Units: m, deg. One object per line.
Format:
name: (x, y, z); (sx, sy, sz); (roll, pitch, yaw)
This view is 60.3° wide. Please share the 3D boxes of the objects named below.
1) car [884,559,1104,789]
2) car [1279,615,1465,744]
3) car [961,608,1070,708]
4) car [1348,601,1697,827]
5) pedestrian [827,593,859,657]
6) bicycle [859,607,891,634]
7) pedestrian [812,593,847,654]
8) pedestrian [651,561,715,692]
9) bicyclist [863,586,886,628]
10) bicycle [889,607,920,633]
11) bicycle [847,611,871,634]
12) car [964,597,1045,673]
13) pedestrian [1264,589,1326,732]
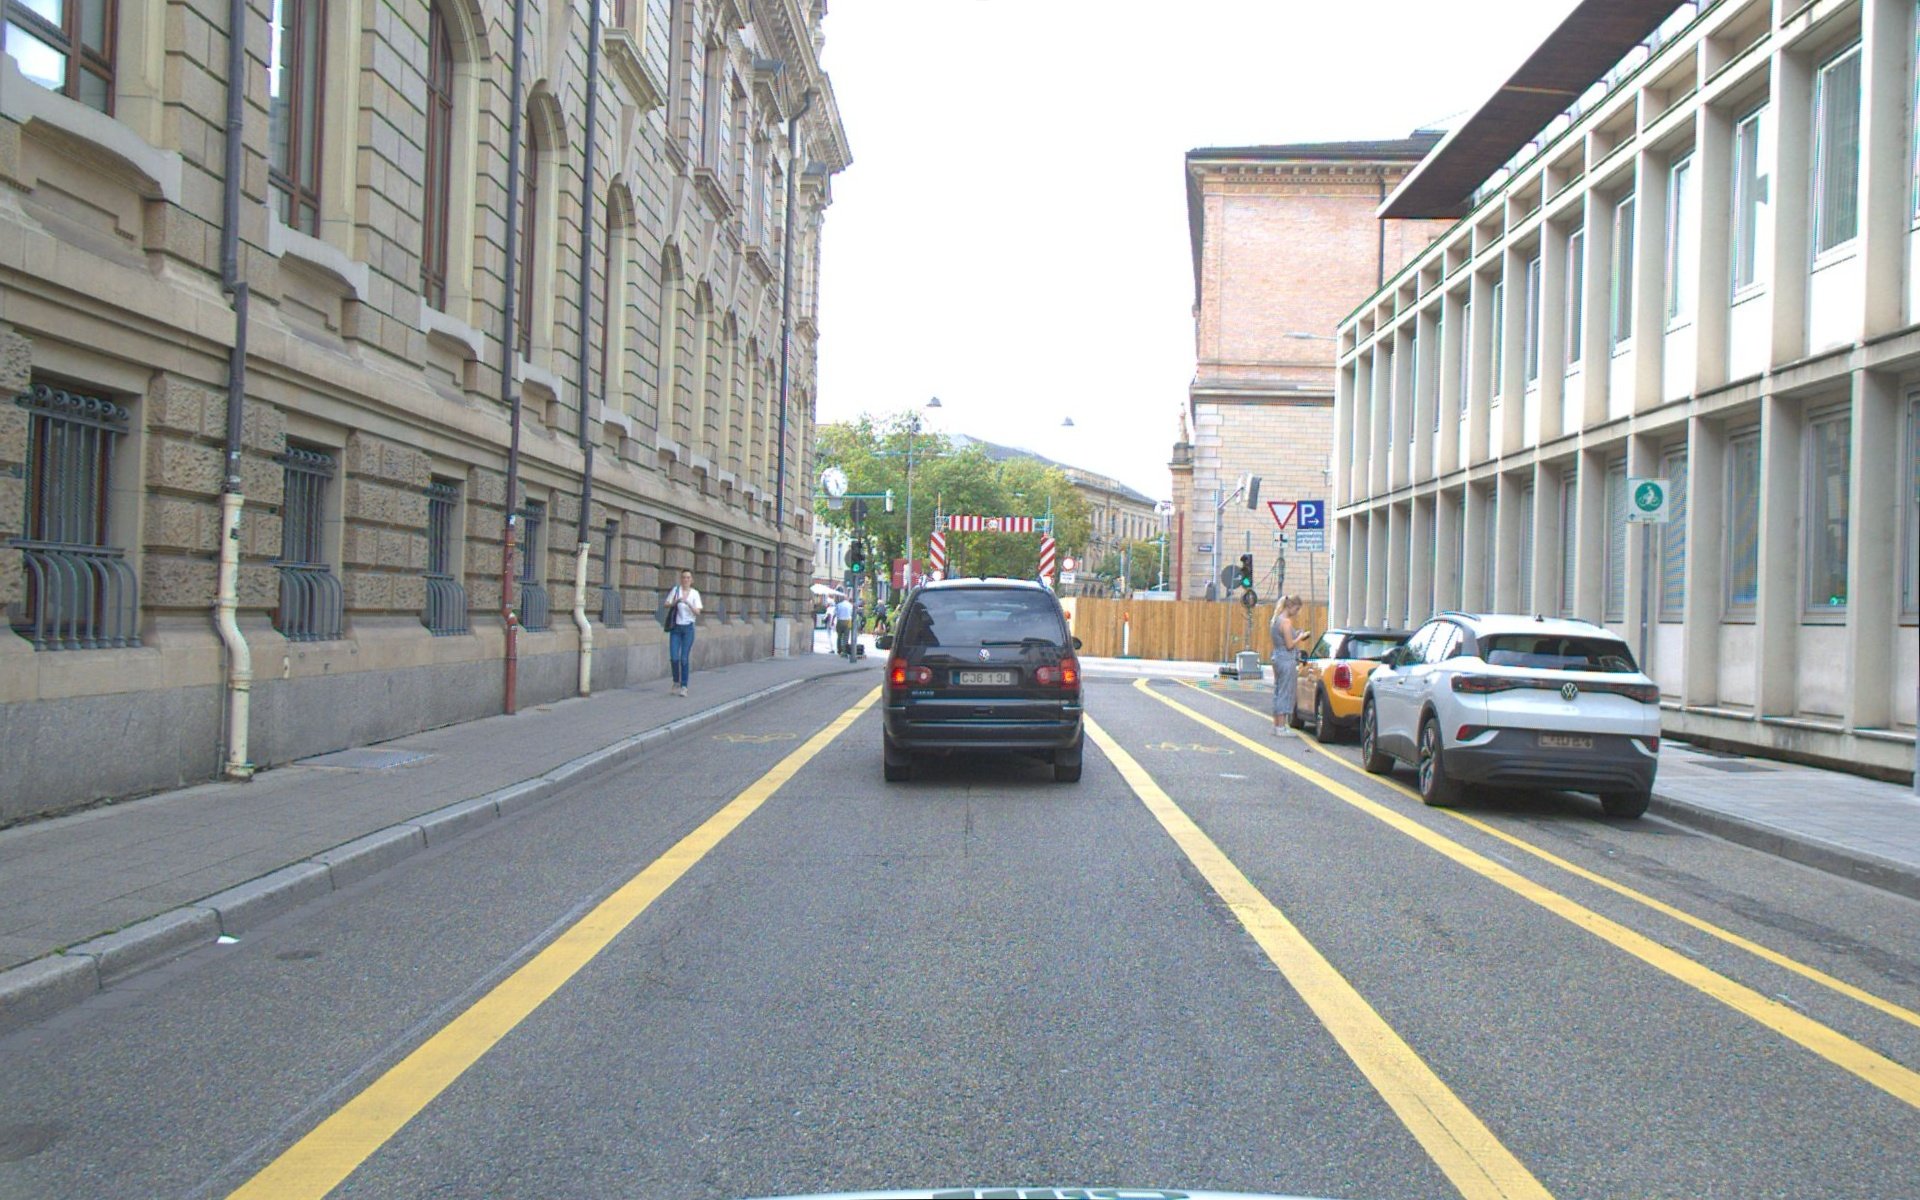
car: (0.383, 0.621, 15.398); (1.752, 1.821, 4.104); (1, -1, 3)
car: (5.330, 0.980, 21.834); (1.645, 1.460, 3.888); (3, -1, 3)
car: (0.947, 0.925, 27.634); (1.643, 1.495, 4.104); (2, -1, 2)
car: (4.941, 0.924, 15.248); (1.822, 1.633, 4.513); (4, -1, 3)
pedestrian: (-3.466, 0.747, 49.134); (0.776, 1.851, 1.048); (3, -1, 0)
bicycle: (-3.359, 0.797, 65.346); (0.723, 1.026, 2.058); (1, -1, -18)
pedestrian: (-4.073, 0.713, 51.709); (0.780, 1.851, 1.043); (3, -1, -18)
pedestrian: (-4.083, 0.390, 24.430); (0.650, 1.851, 1.048); (3, -1, 0)
bicyclist: (-3.363, 0.283, 65.376); (0.724, 1.640, 0.691); (1, -1, -19)
bicycle: (-2.217, 0.804, 66.129); (0.723, 1.026, 2.059); (1, -1, -16)
bicycle: (-4.493, 0.995, 73.318); (0.722, 1.026, 2.062); (1, -1, -13)
car: (0.994, 0.793, 37.955); (1.737, 1.613, 4.000); (1, -1, 0)
pedestrian: (4.327, 0.772, 21.407); (0.683, 1.794, 0.706); (1, -1, 5)
